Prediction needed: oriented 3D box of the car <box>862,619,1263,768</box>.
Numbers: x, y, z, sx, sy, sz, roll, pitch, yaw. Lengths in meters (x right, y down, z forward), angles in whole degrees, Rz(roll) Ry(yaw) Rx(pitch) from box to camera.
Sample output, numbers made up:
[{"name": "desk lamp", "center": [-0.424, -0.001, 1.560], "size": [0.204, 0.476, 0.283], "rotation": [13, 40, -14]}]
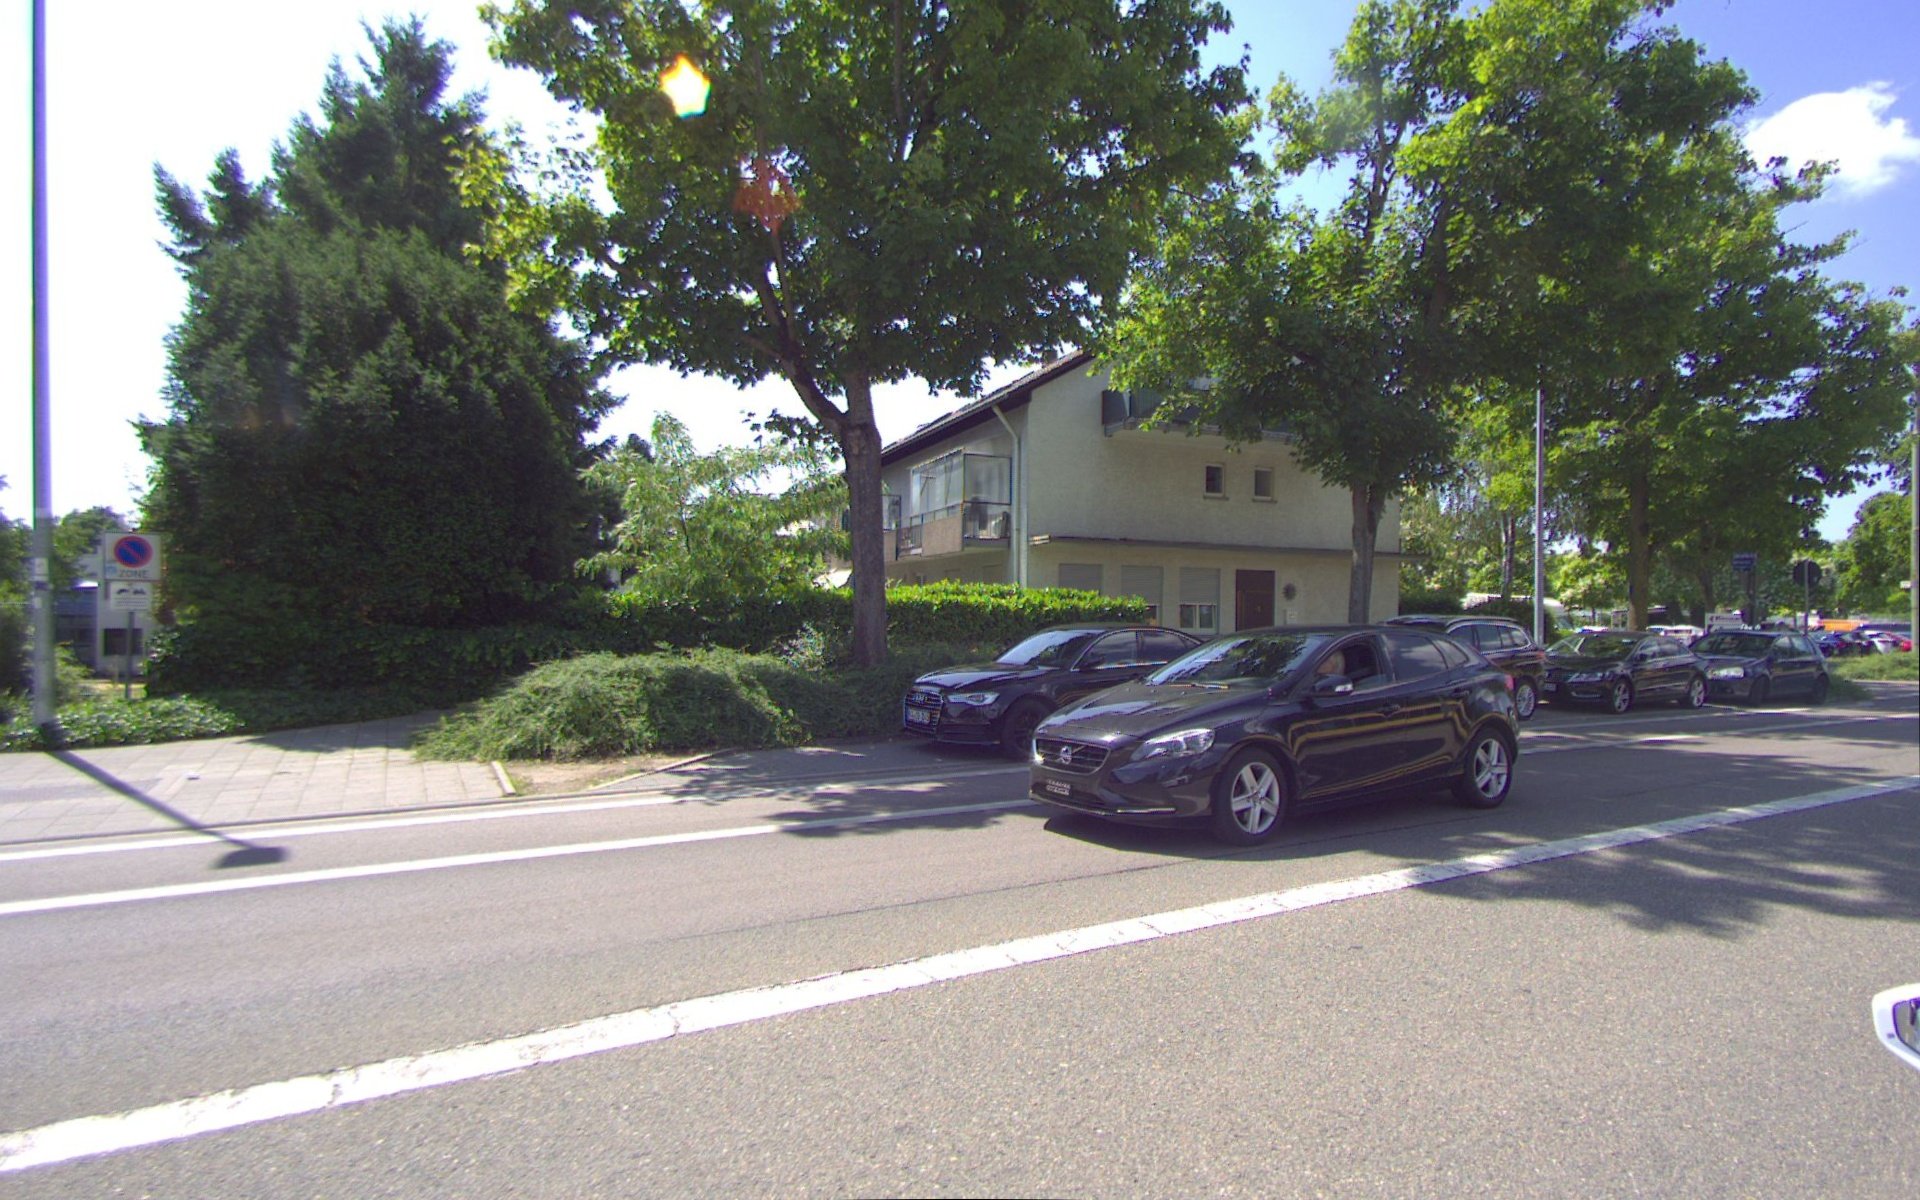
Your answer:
[{"name": "car", "center": [1.338, 0.993, 12.157], "size": [4.750, 1.475, 1.765], "rotation": [1, 0, -32]}]

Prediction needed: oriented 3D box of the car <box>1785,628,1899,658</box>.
[{"name": "car", "center": [44.165, 2.119, 50.385], "size": [1.784, 1.357, 3.968], "rotation": [1, -1, -30]}]

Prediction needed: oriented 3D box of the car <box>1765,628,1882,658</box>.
[{"name": "car", "center": [41.993, 2.065, 48.929], "size": [1.784, 1.357, 3.968], "rotation": [1, -1, -30]}]

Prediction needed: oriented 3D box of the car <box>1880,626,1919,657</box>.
[{"name": "car", "center": [51.636, 2.218, 53.197], "size": [1.784, 1.628, 3.968], "rotation": [1, -1, -30]}]

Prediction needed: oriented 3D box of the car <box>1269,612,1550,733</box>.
[{"name": "car", "center": [7.135, 1.043, 15.793], "size": [4.585, 1.625, 1.765], "rotation": [1, 1, -32]}]

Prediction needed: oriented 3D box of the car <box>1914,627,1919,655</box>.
[{"name": "car", "center": [57.693, 2.399, 57.620], "size": [1.784, 1.628, 3.968], "rotation": [1, -1, -30]}]

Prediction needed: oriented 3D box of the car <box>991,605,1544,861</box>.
[{"name": "car", "center": [2.439, 0.824, 7.676], "size": [4.148, 1.479, 1.765], "rotation": [1, -2, -32]}]

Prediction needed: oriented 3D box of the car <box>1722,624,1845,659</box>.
[{"name": "car", "center": [37.248, 1.846, 45.509], "size": [1.784, 1.461, 3.968], "rotation": [1, -1, -30]}]

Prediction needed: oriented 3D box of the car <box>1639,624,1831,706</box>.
[{"name": "car", "center": [16.196, 1.292, 20.964], "size": [4.000, 1.500, 1.766], "rotation": [1, 1, -30]}]

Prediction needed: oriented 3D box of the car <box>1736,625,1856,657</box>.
[{"name": "car", "center": [39.107, 1.890, 47.084], "size": [1.784, 1.357, 3.968], "rotation": [1, -1, -30]}]

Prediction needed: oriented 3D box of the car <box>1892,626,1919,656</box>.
[{"name": "car", "center": [54.852, 2.315, 55.945], "size": [1.784, 1.628, 3.968], "rotation": [1, -1, -30]}]

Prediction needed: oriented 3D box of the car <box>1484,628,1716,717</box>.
[{"name": "car", "center": [11.927, 1.259, 18.633], "size": [4.644, 1.391, 1.765], "rotation": [1, 1, -32]}]

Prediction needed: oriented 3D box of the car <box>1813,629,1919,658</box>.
[{"name": "car", "center": [46.487, 2.203, 51.413], "size": [1.784, 1.357, 3.968], "rotation": [1, -1, -30]}]

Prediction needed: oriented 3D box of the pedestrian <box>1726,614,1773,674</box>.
[{"name": "pedestrian", "center": [24.882, 1.363, 31.666], "size": [0.786, 1.847, 0.969], "rotation": [1, -1, -32]}]

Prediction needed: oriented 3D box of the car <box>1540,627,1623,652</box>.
[{"name": "car", "center": [38.140, 2.414, 61.729], "size": [1.784, 1.461, 3.968], "rotation": [1, -1, -30]}]

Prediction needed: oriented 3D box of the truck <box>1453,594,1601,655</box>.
[{"name": "truck", "center": [32.091, 1.357, 57.138], "size": [2.306, 3.270, 7.149], "rotation": [1, -1, -31]}]

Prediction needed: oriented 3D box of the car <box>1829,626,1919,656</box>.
[{"name": "car", "center": [48.192, 2.132, 52.405], "size": [1.784, 1.461, 3.968], "rotation": [1, -1, -30]}]
